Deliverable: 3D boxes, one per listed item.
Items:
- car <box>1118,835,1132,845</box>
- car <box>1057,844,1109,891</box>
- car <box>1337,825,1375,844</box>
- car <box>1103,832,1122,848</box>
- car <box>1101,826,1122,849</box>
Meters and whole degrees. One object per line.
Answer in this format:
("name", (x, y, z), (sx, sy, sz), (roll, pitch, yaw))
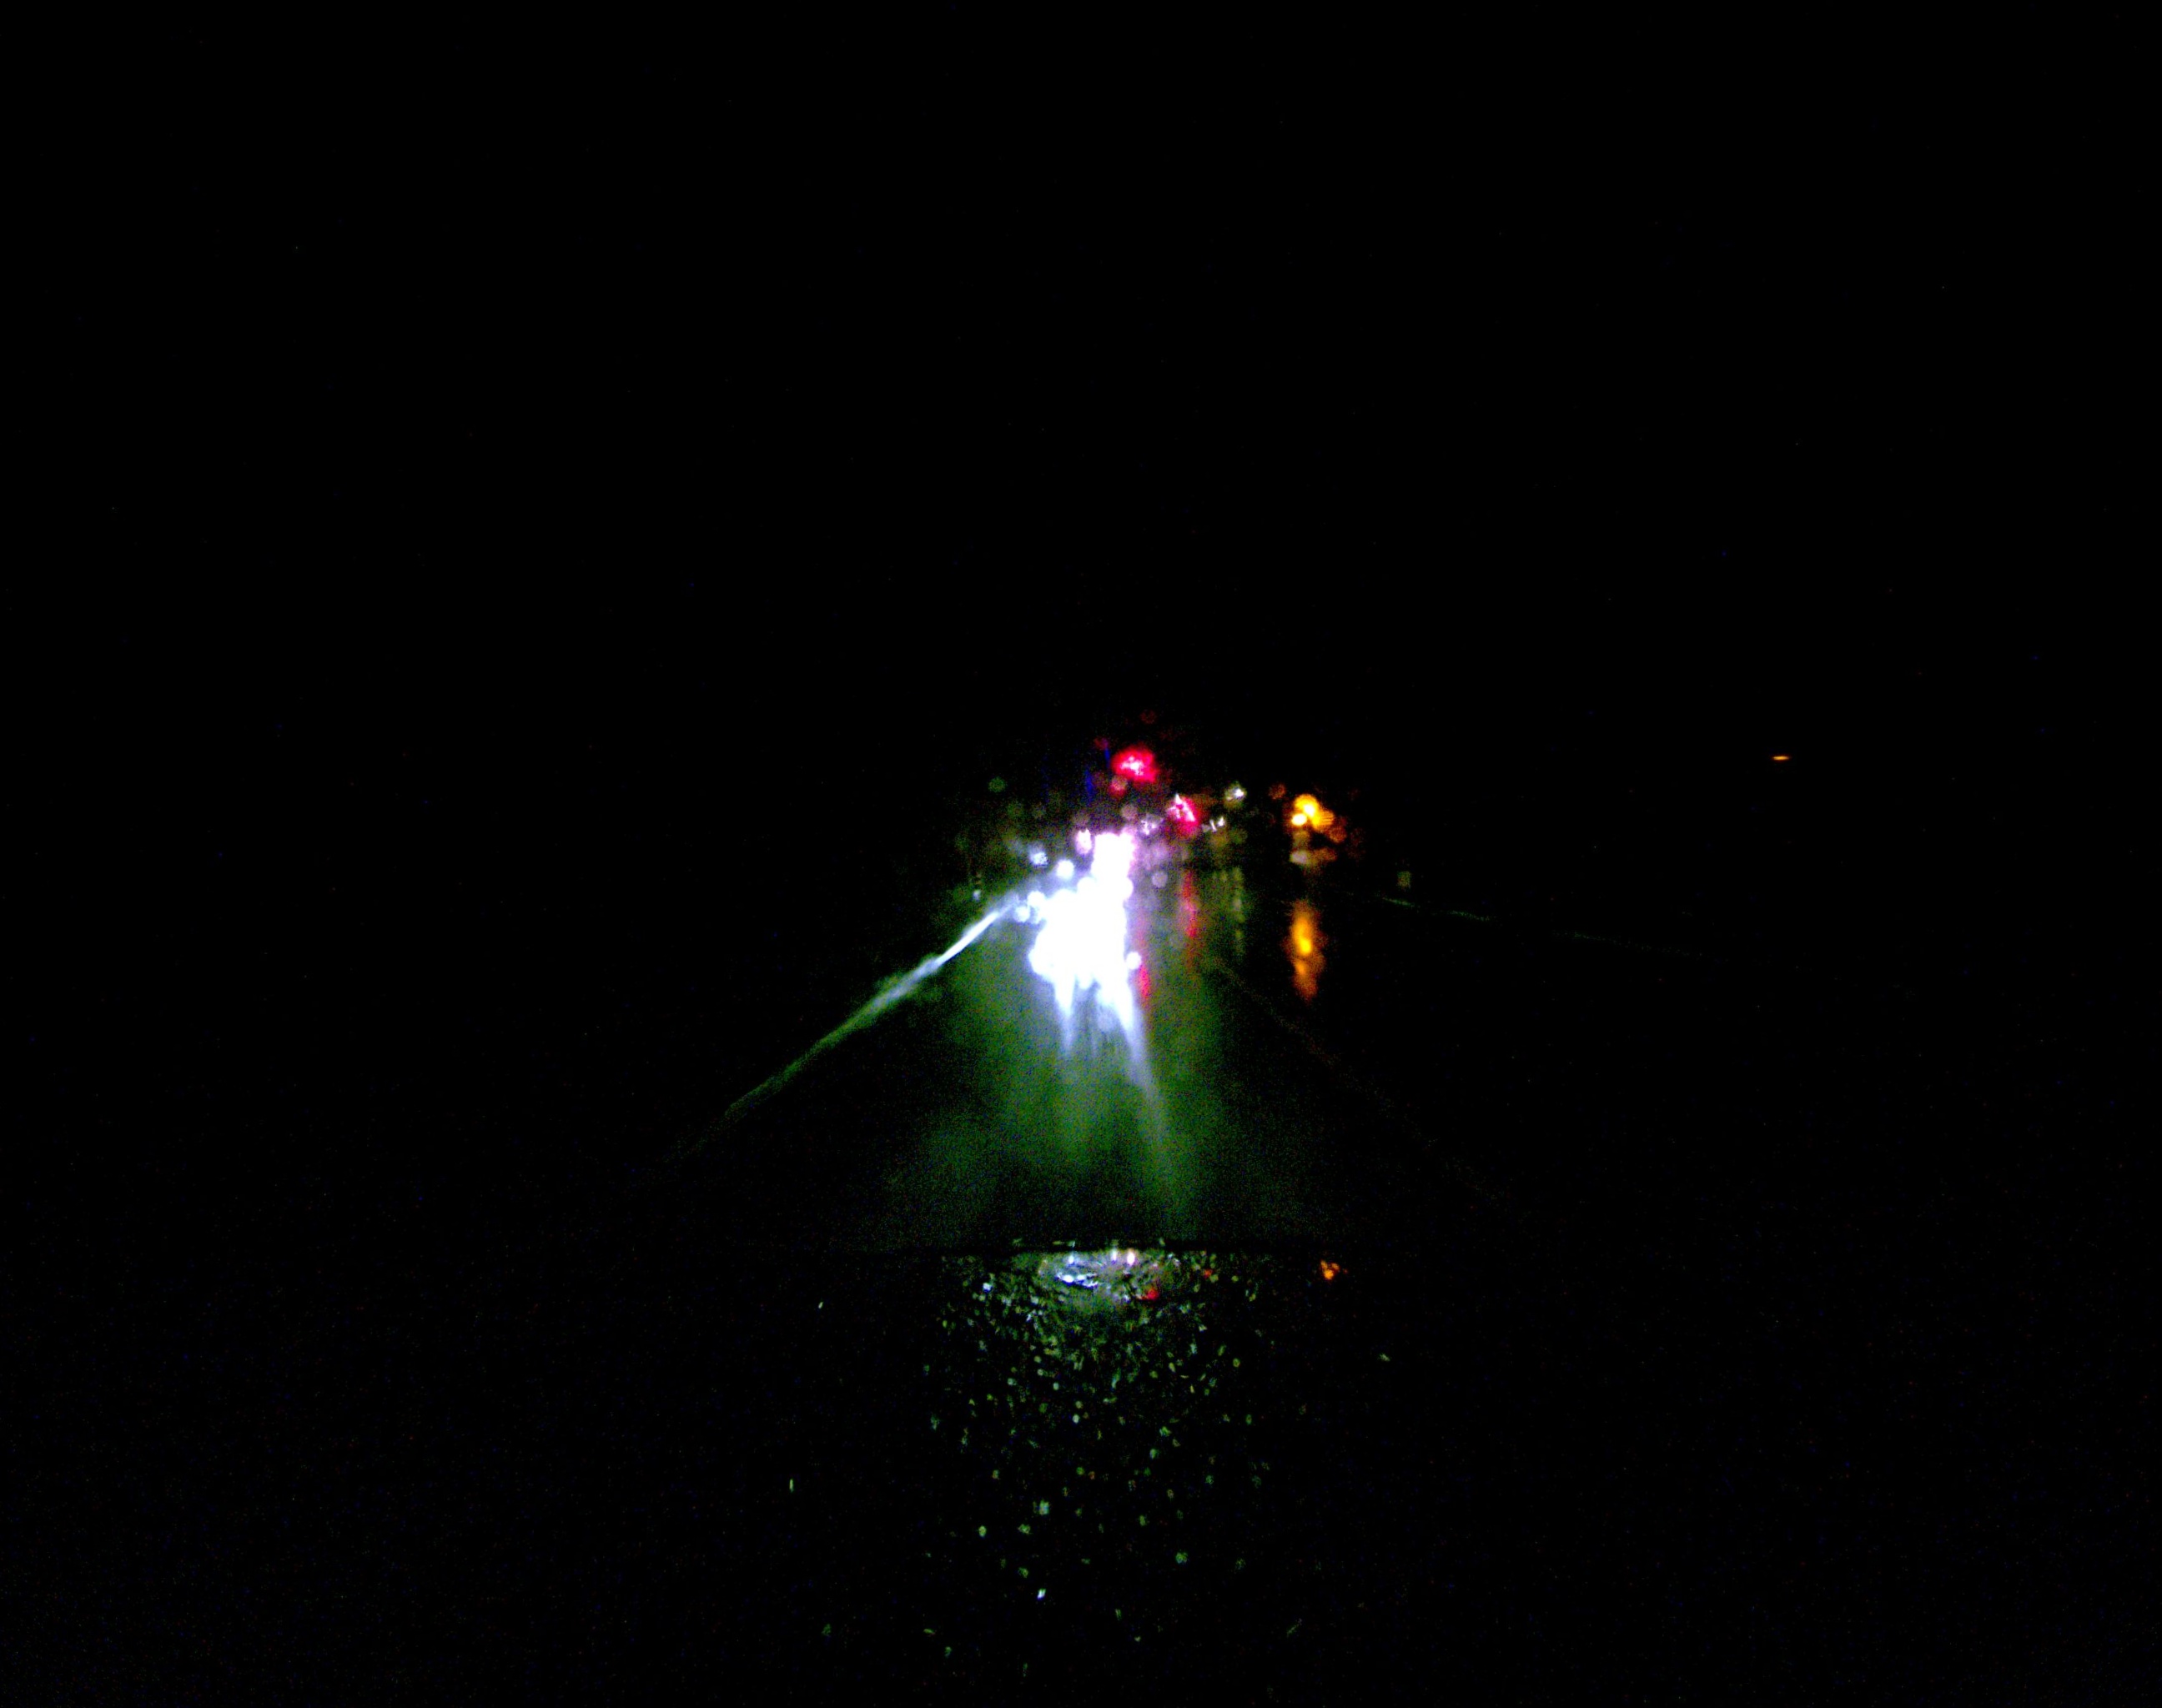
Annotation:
("car", (7.375, -2.317, 127.966), (2.062, 1.668, 4.139), (-2, 1, 1))
("car", (0.121, 0.512, 30.947), (1.893, 1.678, 4.339), (-3, 0, 1))
("car", (25.028, -1.803, 69.298), (1.937, 1.578, 4.480), (-1, 3, 2))
("car", (3.421, -1.503, 82.800), (1.979, 1.508, 4.207), (-3, -1, 2))
("car", (3.560, -1.925, 88.815), (2.173, 2.427, 4.862), (-3, -1, 2))
